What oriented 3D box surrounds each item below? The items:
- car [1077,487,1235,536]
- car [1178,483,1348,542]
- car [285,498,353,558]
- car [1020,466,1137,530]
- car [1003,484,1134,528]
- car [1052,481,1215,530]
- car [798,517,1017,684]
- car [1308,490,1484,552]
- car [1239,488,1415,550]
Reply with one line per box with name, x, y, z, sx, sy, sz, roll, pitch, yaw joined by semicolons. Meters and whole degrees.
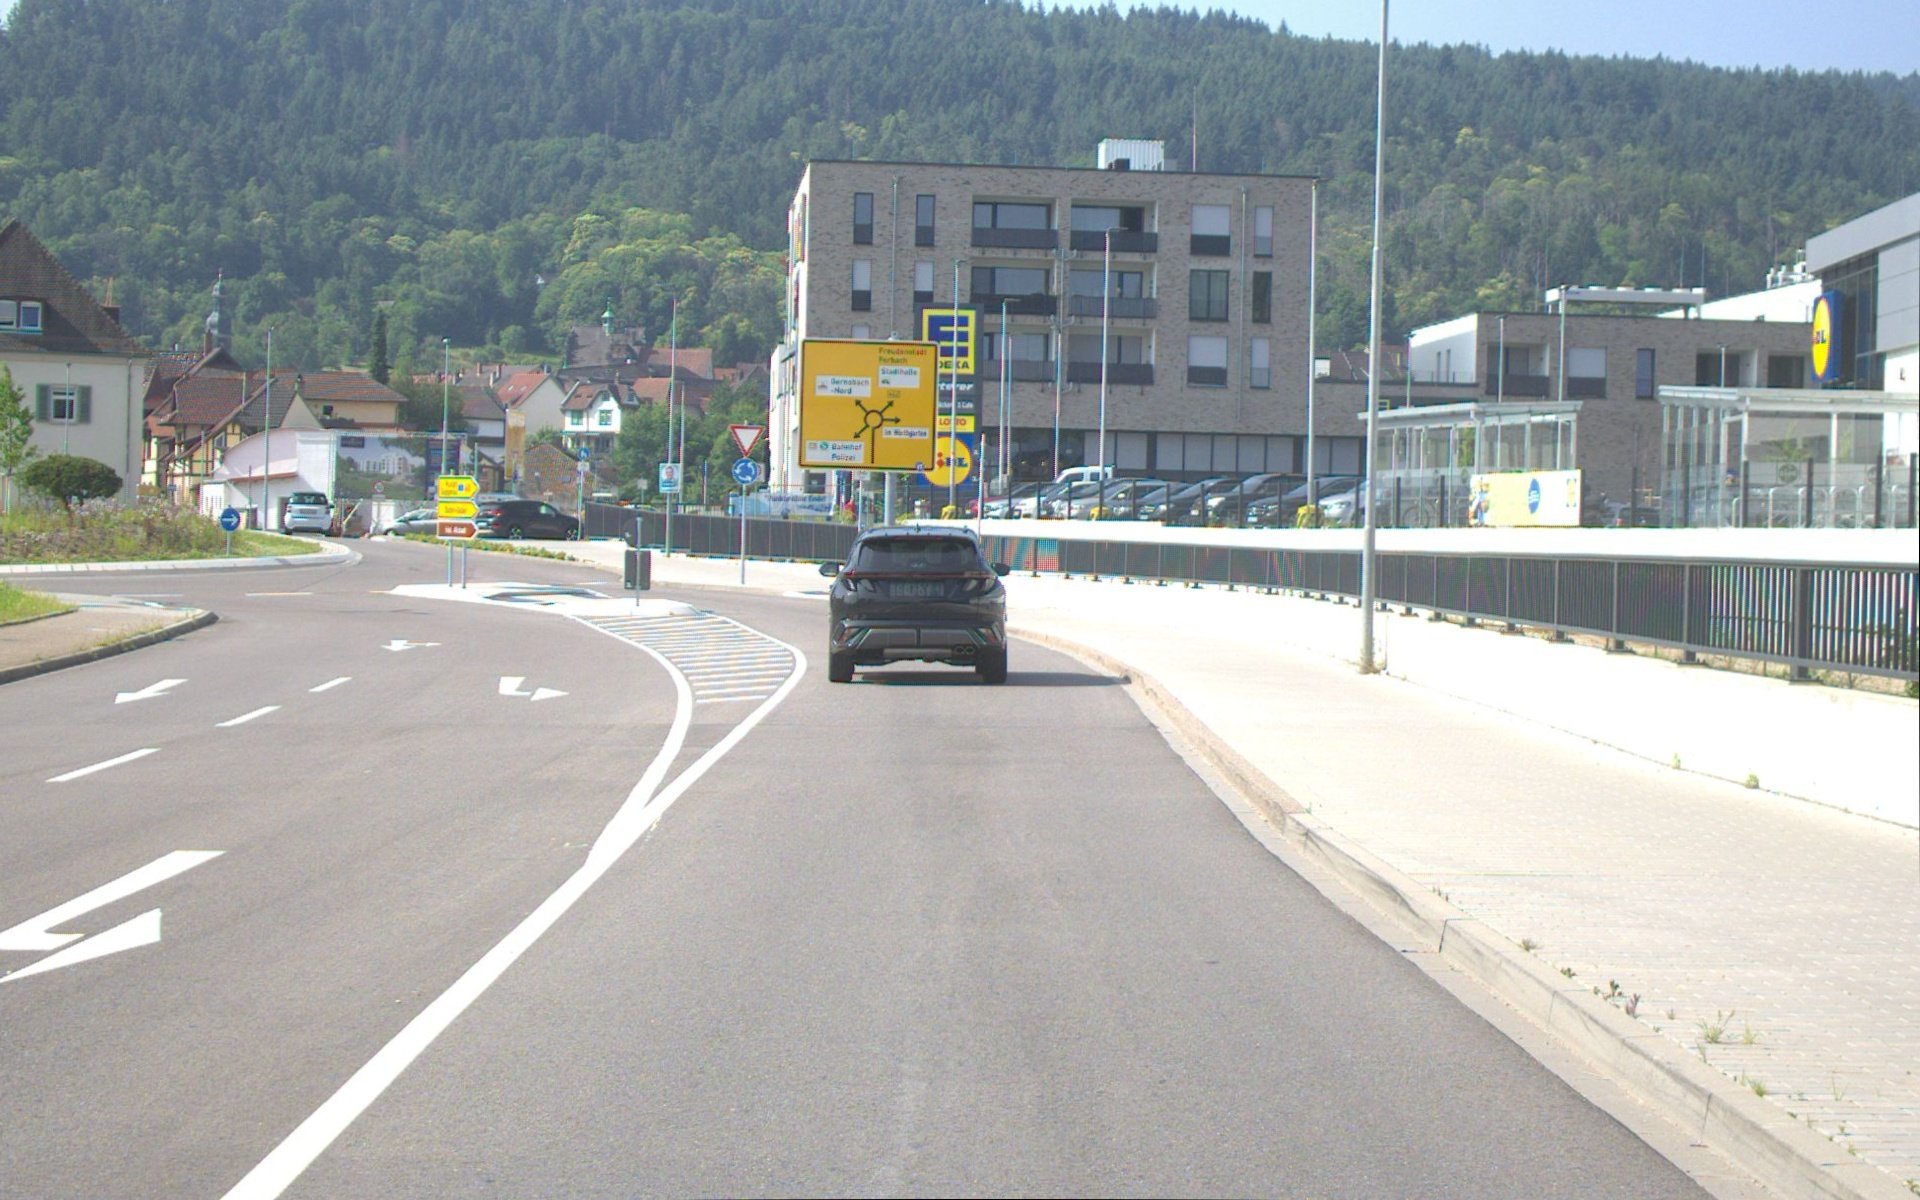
car;5.438;-2.456;95.330;3.965;1.241;1.730;1;2;-19
car;7.856;-2.275;89.130;4.004;1.399;1.726;1;2;-19
car;-22.047;-2.468;118.343;1.993;2.007;4.001;1;1;-6
car;4.103;-3.531;119.115;3.987;2.128;2.000;1;1;3
car;3.259;-2.835;103.372;3.554;1.195;1.715;1;2;-18
car;4.938;-2.692;97.907;4.277;1.241;1.665;1;2;-19
car;-0.620;-0.024;36.976;1.880;1.678;4.001;1;1;-7
car;10.464;-1.889;82.581;3.804;1.359;1.681;1;2;-19
car;9.134;-2.011;85.577;4.060;1.399;1.486;1;2;-19
